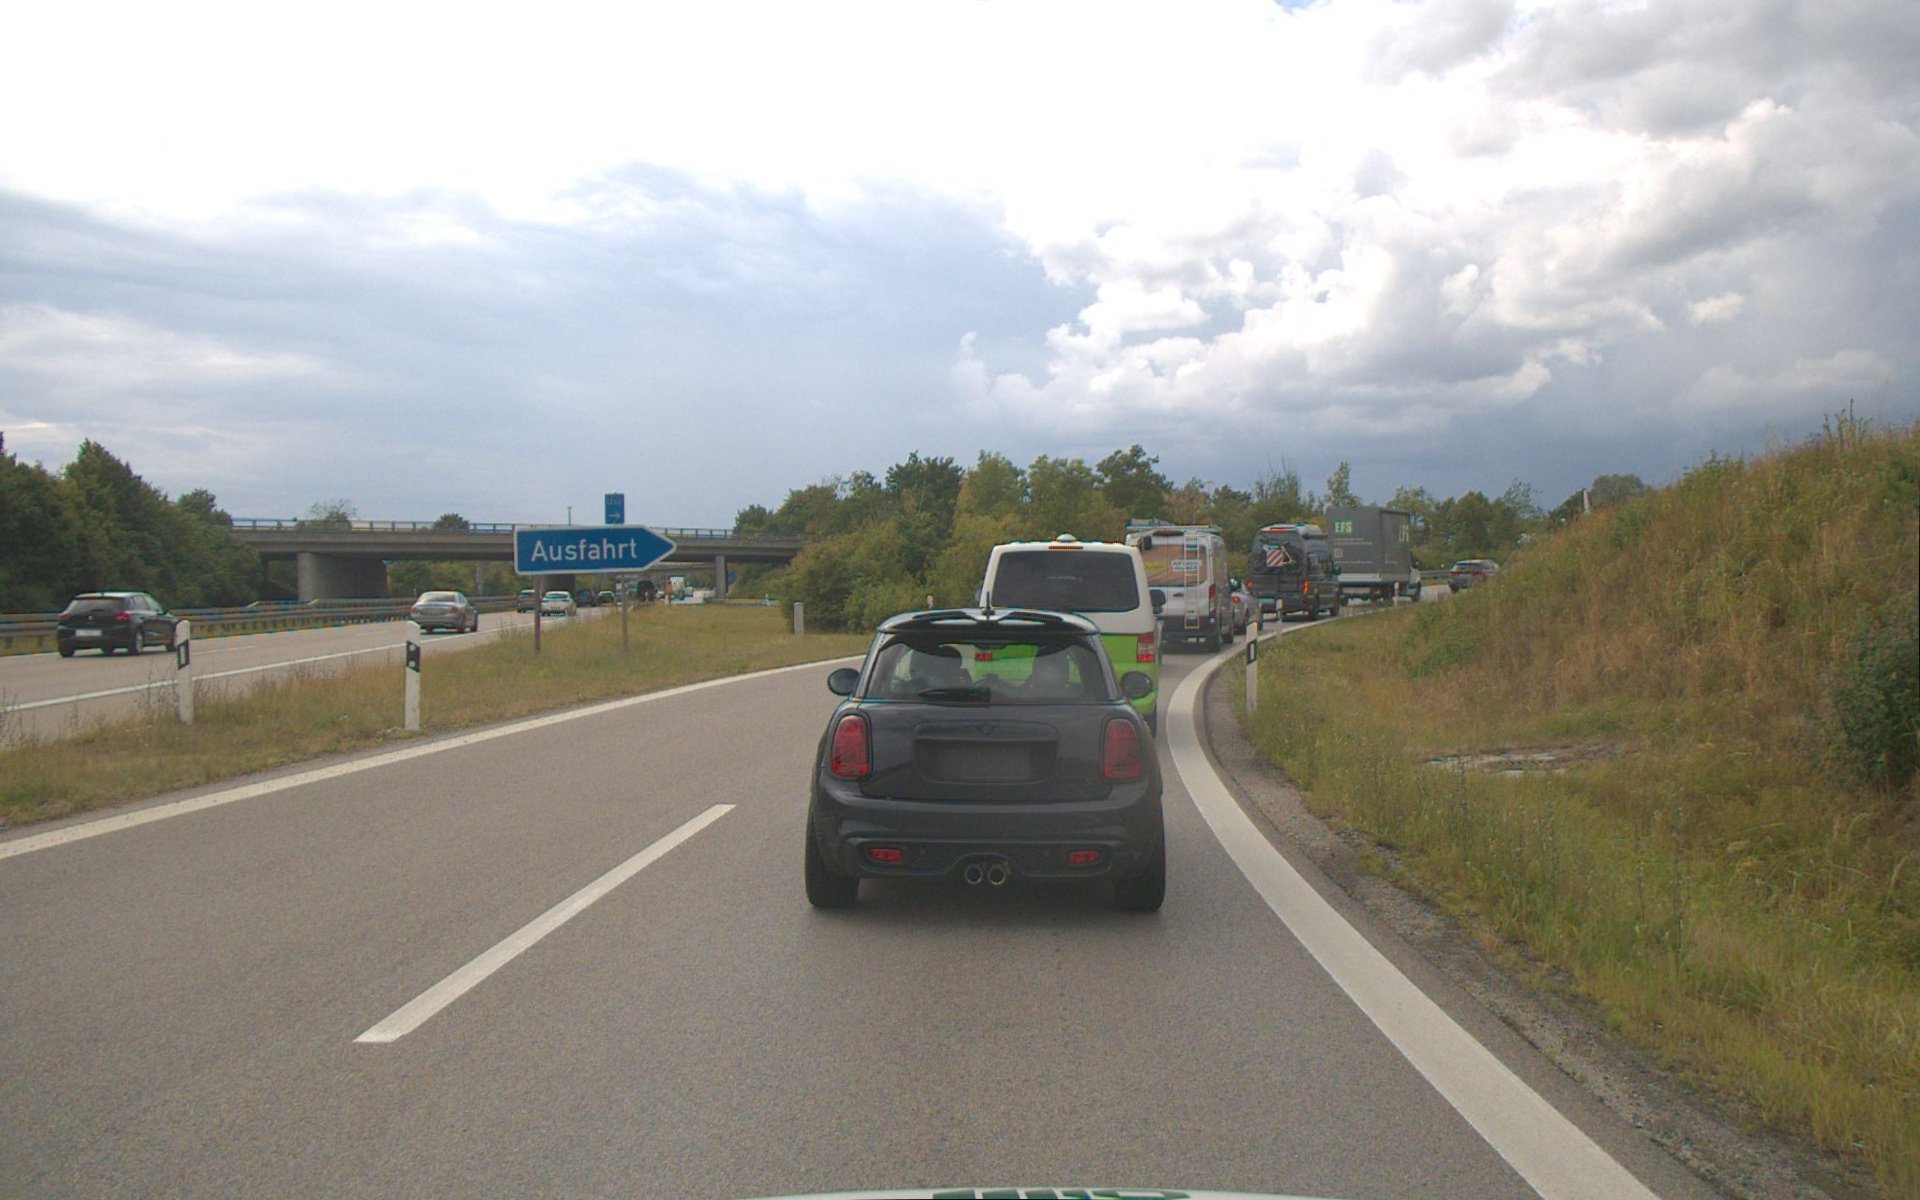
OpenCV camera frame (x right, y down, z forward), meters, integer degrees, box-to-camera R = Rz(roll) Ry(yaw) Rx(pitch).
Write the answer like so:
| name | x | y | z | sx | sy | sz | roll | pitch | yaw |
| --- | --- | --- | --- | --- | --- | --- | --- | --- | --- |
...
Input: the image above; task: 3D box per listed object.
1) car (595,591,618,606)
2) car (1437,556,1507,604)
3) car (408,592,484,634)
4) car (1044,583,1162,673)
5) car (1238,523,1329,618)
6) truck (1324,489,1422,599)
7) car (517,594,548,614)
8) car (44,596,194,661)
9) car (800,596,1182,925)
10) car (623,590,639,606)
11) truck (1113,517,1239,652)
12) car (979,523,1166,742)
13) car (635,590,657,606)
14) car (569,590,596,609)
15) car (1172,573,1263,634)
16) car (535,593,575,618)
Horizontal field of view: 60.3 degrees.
| name | x | y | z | sx | sy | sz | roll | pitch | yaw |
| --- | --- | --- | --- | --- | --- | --- | --- | --- | --- |
| car | -39.326 | -0.170 | 184.037 | 2.118 | 1.700 | 4.301 | -1 | 0 | -6 |
| car | 23.327 | -0.890 | 75.268 | 1.959 | 2.049 | 3.987 | 0 | -1 | 34 |
| car | -18.028 | 0.433 | 58.175 | 1.746 | 1.423 | 4.544 | -1 | 0 | -7 |
| car | 2.490 | 0.439 | 28.084 | 1.724 | 1.423 | 3.728 | -1 | 0 | 9 |
| car | 10.158 | -0.914 | 51.740 | 2.062 | 2.845 | 4.000 | 1 | 1 | 22 |
| truck | 16.016 | -2.063 | 63.882 | 2.186 | 3.975 | 6.006 | 0 | -1 | 29 |
| car | -30.600 | 0.262 | 118.469 | 1.747 | 1.423 | 4.296 | -1 | 0 | -10 |
| car | -19.742 | 0.626 | 39.033 | 1.746 | 1.423 | 4.300 | -1 | 0 | -7 |
| car | 0.145 | 0.709 | 9.205 | 1.692 | 1.438 | 3.725 | 0 | 0 | 0 |
| car | -44.963 | -0.270 | 226.125 | 2.031 | 2.049 | 3.991 | 1 | 0 | -9 |
| truck | 4.777 | -0.361 | 35.905 | 2.132 | 2.705 | 5.113 | 0 | 1 | 14 |
| car | 1.273 | 0.289 | 17.585 | 1.746 | 2.049 | 4.003 | 0 | 0 | 6 |
| car | -35.552 | -0.237 | 187.171 | 2.055 | 1.700 | 4.301 | -1 | 0 | -6 |
| car | -36.198 | -0.053 | 158.647 | 2.055 | 1.700 | 4.301 | -1 | 0 | -6 |
| car | 6.878 | 0.082 | 43.870 | 1.827 | 1.536 | 4.002 | 0 | 0 | 17 |
| car | -24.058 | 0.324 | 98.426 | 1.745 | 1.423 | 4.024 | -1 | 0 | -6 |
